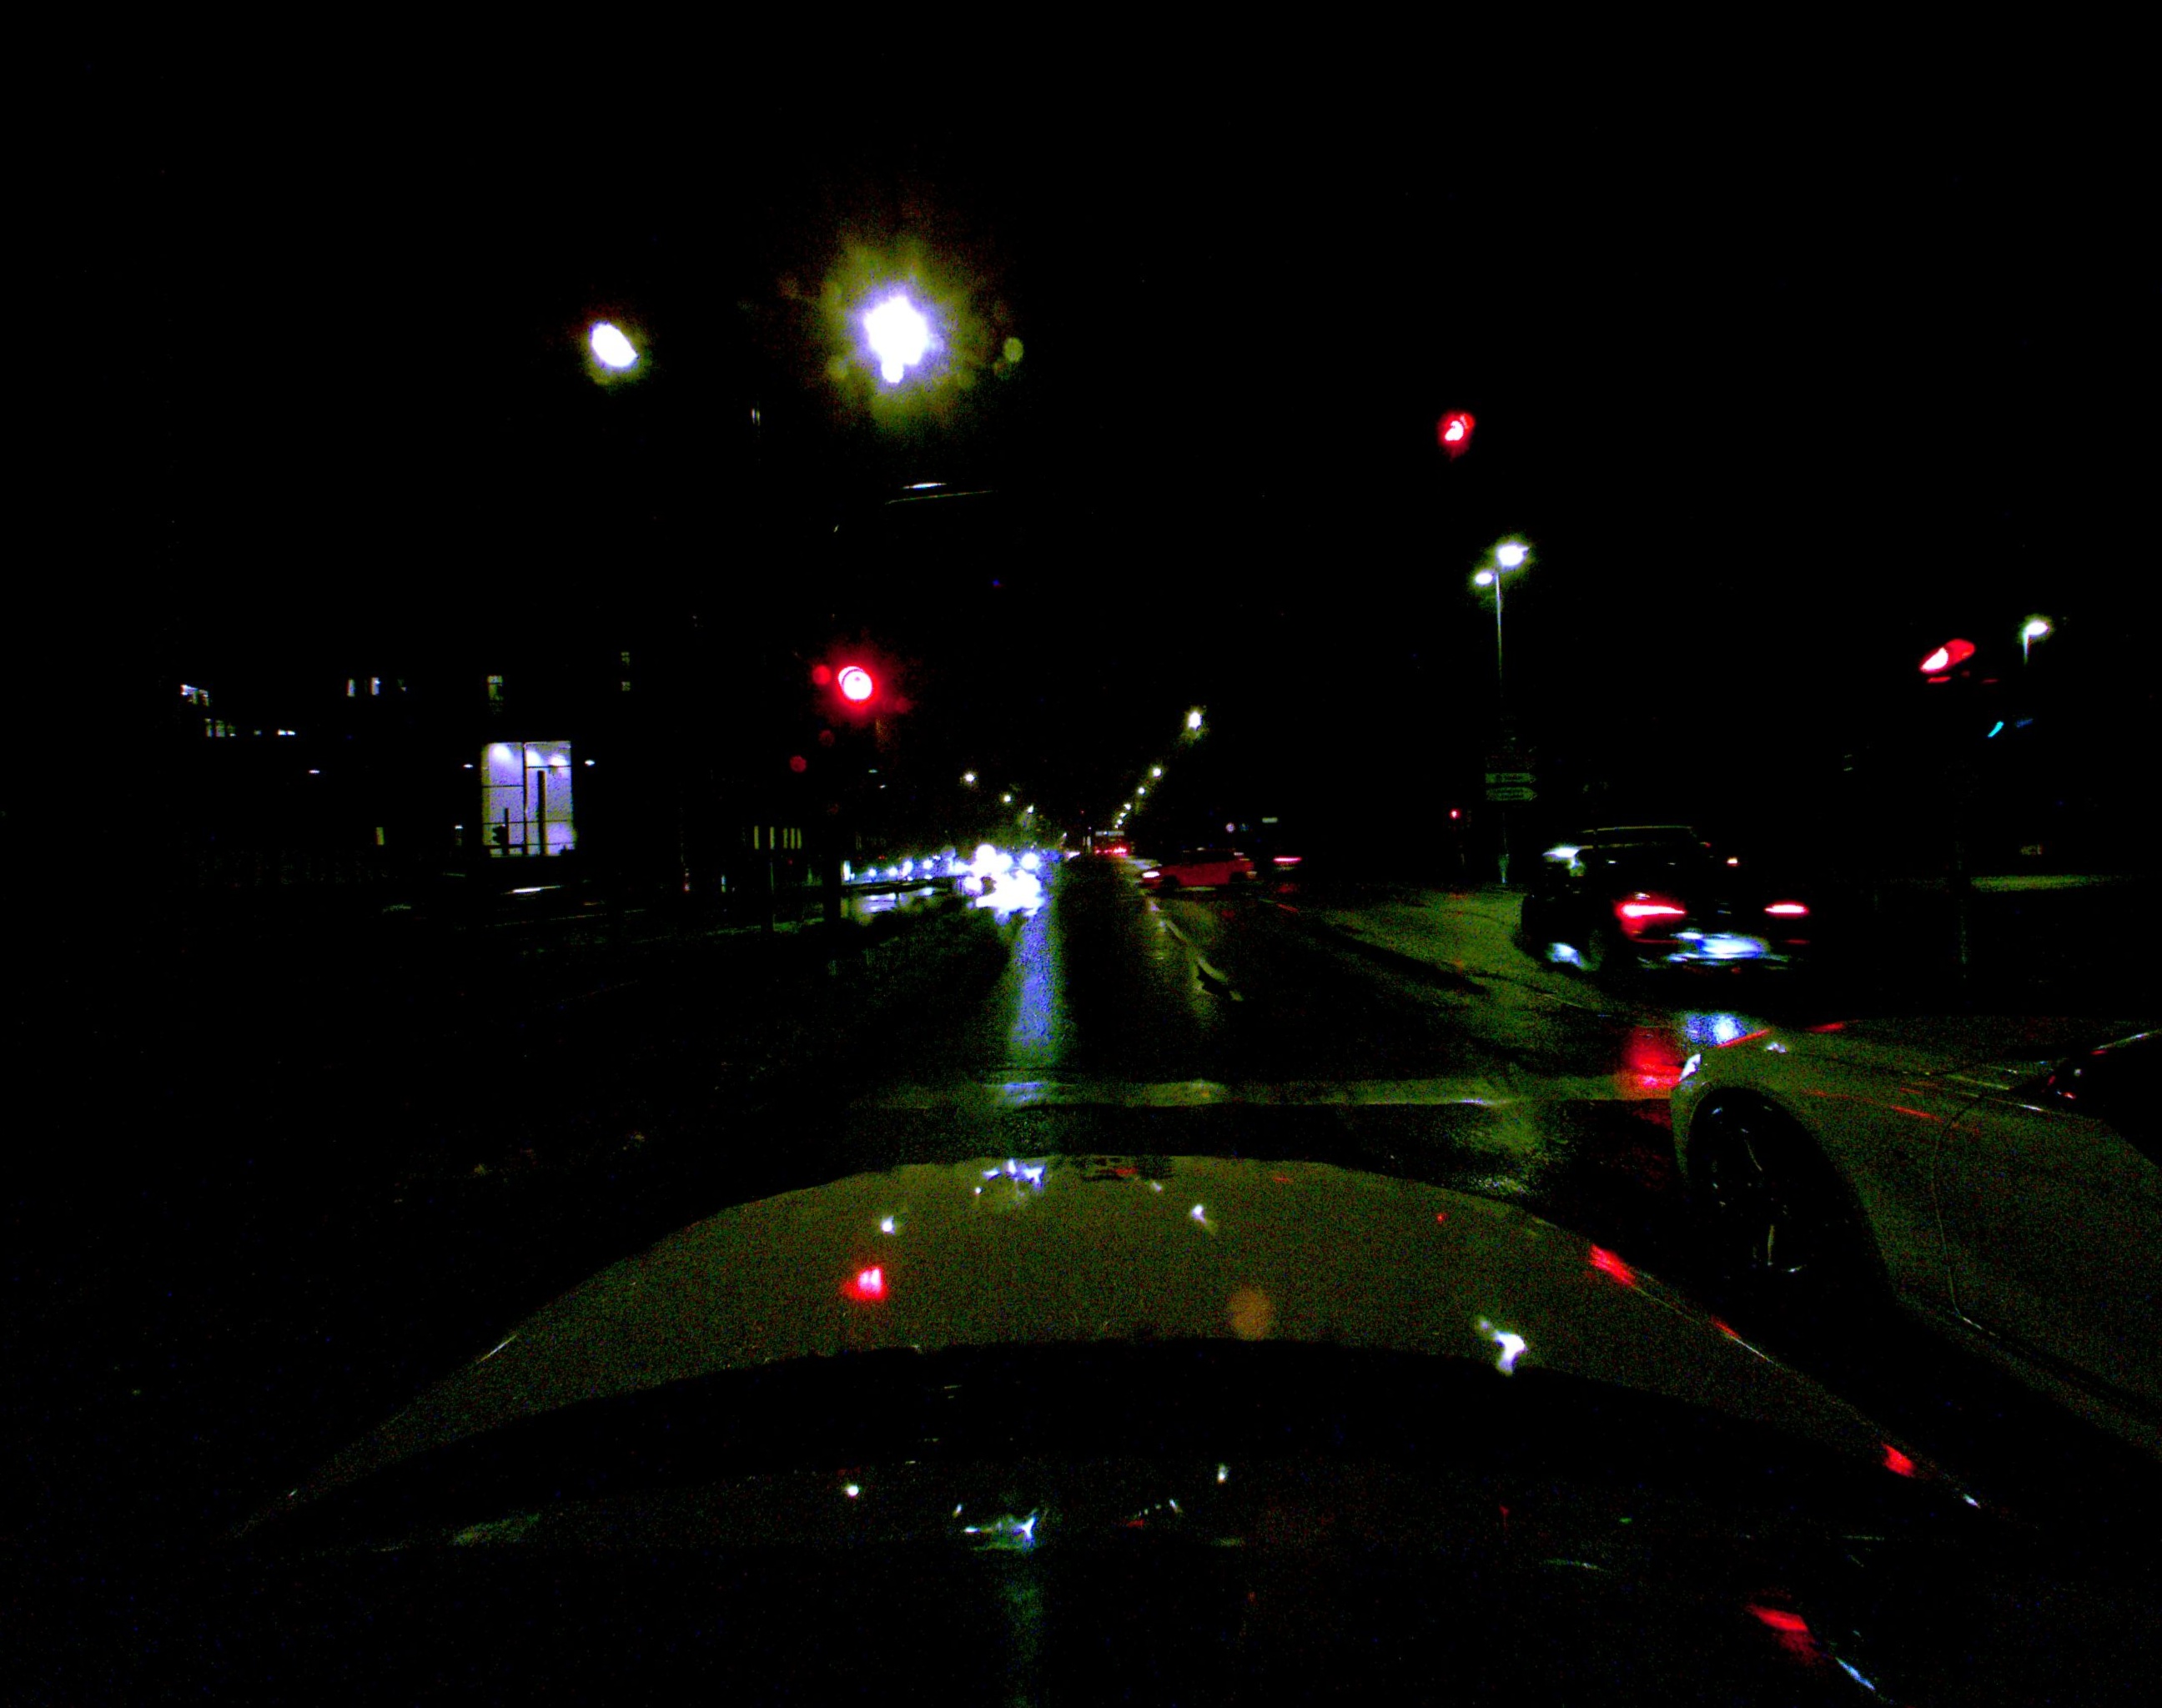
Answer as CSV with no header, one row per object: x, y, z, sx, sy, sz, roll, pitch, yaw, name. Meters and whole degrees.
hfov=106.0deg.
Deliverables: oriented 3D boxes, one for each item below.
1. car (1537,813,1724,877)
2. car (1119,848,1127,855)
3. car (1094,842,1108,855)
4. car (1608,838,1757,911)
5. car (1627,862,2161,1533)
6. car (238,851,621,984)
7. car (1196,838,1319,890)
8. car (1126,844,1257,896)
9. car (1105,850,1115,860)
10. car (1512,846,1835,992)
19.127,-0.303,28.553,5.066,1.984,2.004,-2,0,6,car
10.301,-0.583,200.511,1.986,1.759,4.001,0,-1,2,car
3.026,-0.807,124.642,1.988,2.014,4.629,0,-1,-1,car
13.414,0.417,18.120,3.609,1.459,1.621,0,-1,-36,car
3.118,0.723,1.279,1.710,1.404,4.351,0,0,2,car
-10.114,0.861,13.189,1.838,1.749,4.528,-1,-1,19,car
7.793,0.439,36.090,4.865,2.145,2.155,-1,-1,29,car
3.709,0.527,27.803,4.066,1.588,1.907,-1,0,-8,car
5.418,0.134,154.561,1.784,1.874,4.628,0,-1,1,car
6.950,0.606,10.216,1.739,1.390,4.584,0,0,15,car
